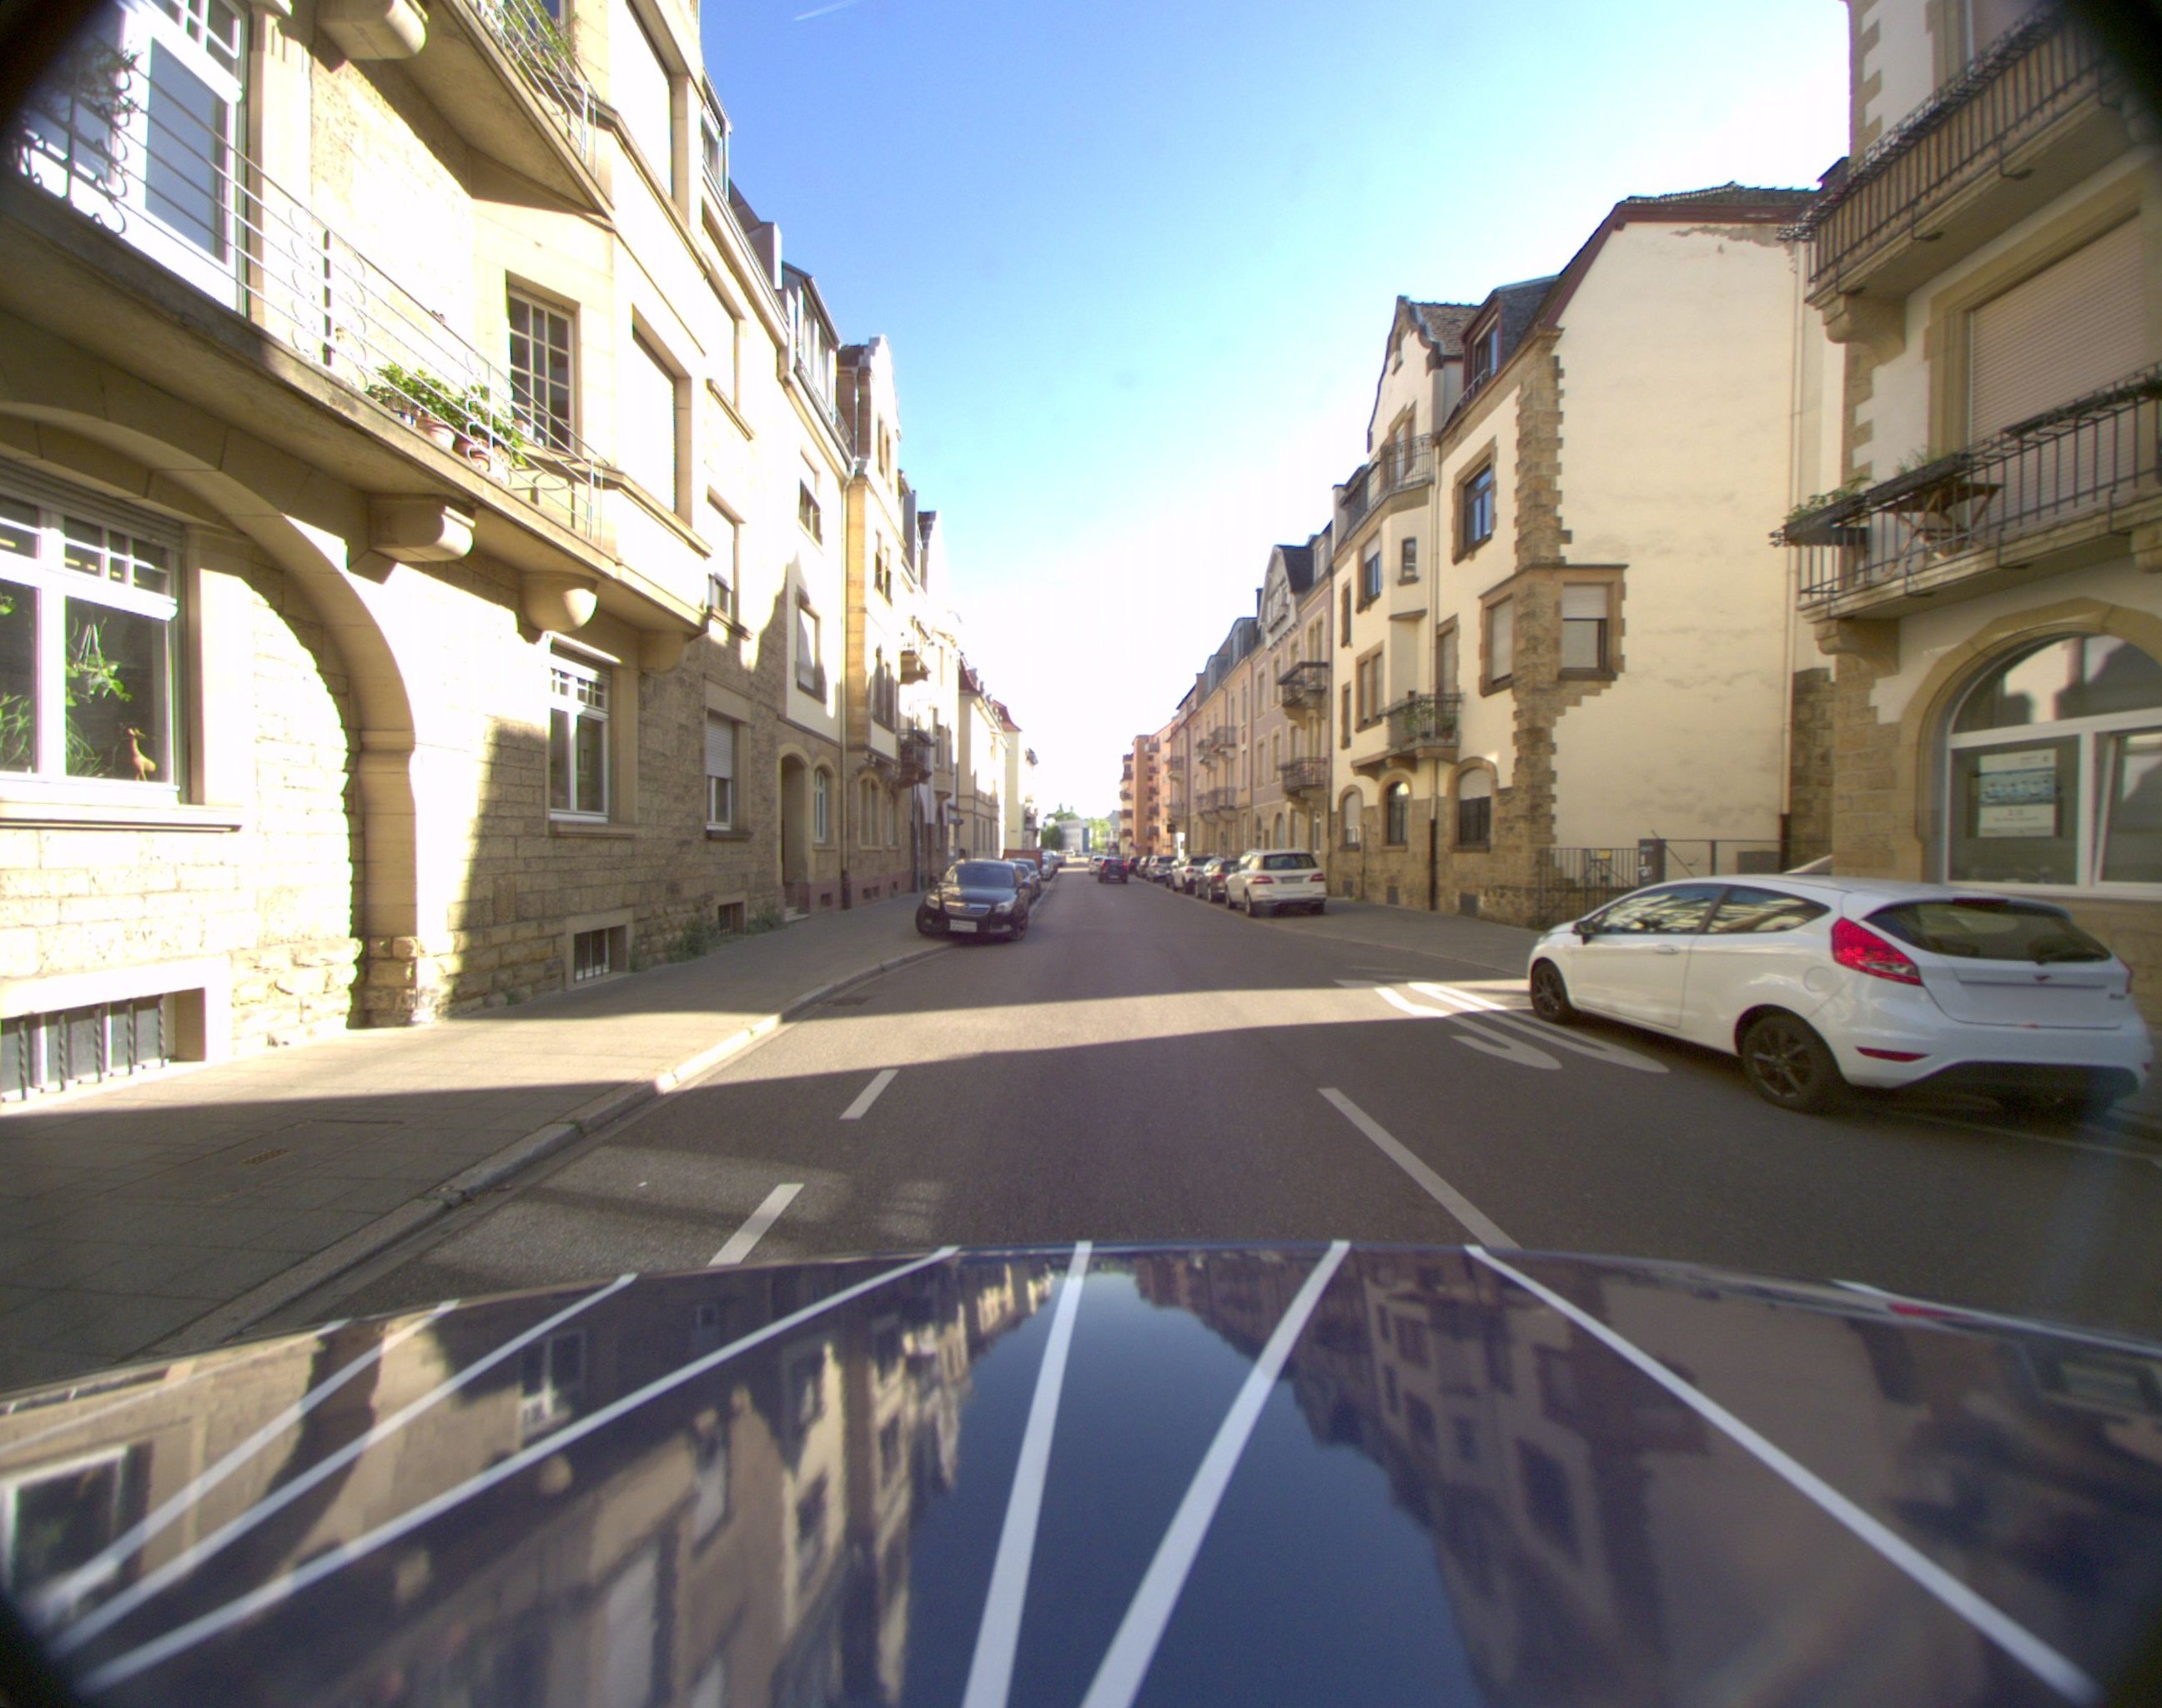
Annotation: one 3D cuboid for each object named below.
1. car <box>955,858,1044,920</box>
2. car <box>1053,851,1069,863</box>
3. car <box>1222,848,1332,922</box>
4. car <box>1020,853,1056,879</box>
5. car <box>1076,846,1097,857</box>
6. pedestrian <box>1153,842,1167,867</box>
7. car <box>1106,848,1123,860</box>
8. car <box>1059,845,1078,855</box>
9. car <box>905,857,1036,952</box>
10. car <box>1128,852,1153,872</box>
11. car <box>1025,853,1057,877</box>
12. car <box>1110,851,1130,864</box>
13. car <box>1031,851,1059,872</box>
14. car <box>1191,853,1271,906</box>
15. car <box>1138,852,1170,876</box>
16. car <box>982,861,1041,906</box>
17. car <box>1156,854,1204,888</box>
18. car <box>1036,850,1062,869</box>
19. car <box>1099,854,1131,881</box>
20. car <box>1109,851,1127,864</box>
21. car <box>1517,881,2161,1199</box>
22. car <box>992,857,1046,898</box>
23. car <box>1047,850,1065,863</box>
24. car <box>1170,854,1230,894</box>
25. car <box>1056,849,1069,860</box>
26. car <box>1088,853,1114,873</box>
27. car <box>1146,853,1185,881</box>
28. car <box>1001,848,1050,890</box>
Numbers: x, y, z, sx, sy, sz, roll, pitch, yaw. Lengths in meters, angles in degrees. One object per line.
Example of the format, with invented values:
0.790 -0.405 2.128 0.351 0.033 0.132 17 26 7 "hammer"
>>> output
-2.098 0.872 20.798 2.005 1.499 4.321 1 0 -1 "car"
-2.587 0.422 99.951 2.005 1.500 4.320 1 1 -1 "car"
5.194 0.750 20.707 1.890 1.717 4.211 -2 1 1 "car"
-2.655 0.713 47.866 2.005 1.500 4.320 1 1 -1 "car"
1.100 -0.545 148.716 3.997 2.002 2.000 -2 1 0 "car"
6.521 -0.001 62.519 0.952 2.002 1.066 -2 1 0 "pedestrian"
4.514 -0.006 101.957 2.005 1.500 4.320 1 1 -1 "car"
-2.705 -0.830 169.547 3.999 2.002 1.999 -2 1 -6 "car"
-2.038 0.880 15.223 2.024 1.500 4.111 2 1 -1 "car"
4.890 0.636 62.972 1.793 1.500 4.320 -2 1 1 "car"
-2.750 0.733 52.640 2.005 1.500 4.320 1 1 -1 "car"
4.670 0.401 91.390 2.005 1.500 4.320 1 1 -1 "car"
-2.747 0.531 58.665 2.005 1.500 4.320 1 1 -1 "car"
5.121 0.818 26.544 1.890 1.500 4.320 -4 1 1 "car"
4.990 0.664 52.350 1.809 1.500 4.003 -2 1 1 "car"
-2.235 0.924 25.377 1.661 1.272 3.729 1 1 -1 "car"
4.854 0.814 37.805 1.857 1.491 4.318 -2 1 1 "car"
-2.675 0.446 64.498 2.005 1.500 4.320 1 1 -1 "car"
1.913 0.727 43.920 1.656 1.449 3.642 0 1 -1 "car"
4.619 0.384 96.205 2.005 1.500 4.320 1 1 -1 "car"
5.110 1.014 5.671 1.656 1.449 3.643 2 0 2 "car"
-2.386 0.888 30.119 1.824 1.415 4.320 1 1 -1 "car"
-2.847 0.259 88.978 2.005 1.500 4.320 1 1 -1 "car"
4.983 0.792 32.365 1.890 1.500 4.320 -2 1 1 "car"
-2.945 0.058 123.335 2.005 1.722 4.320 1 1 -1 "car"
1.541 0.693 59.411 1.703 1.474 3.533 1 0 -4 "car"
5.019 0.730 45.831 1.890 1.500 4.320 -2 1 1 "car"
-2.561 0.647 35.809 2.005 1.828 4.320 1 1 -1 "car"
